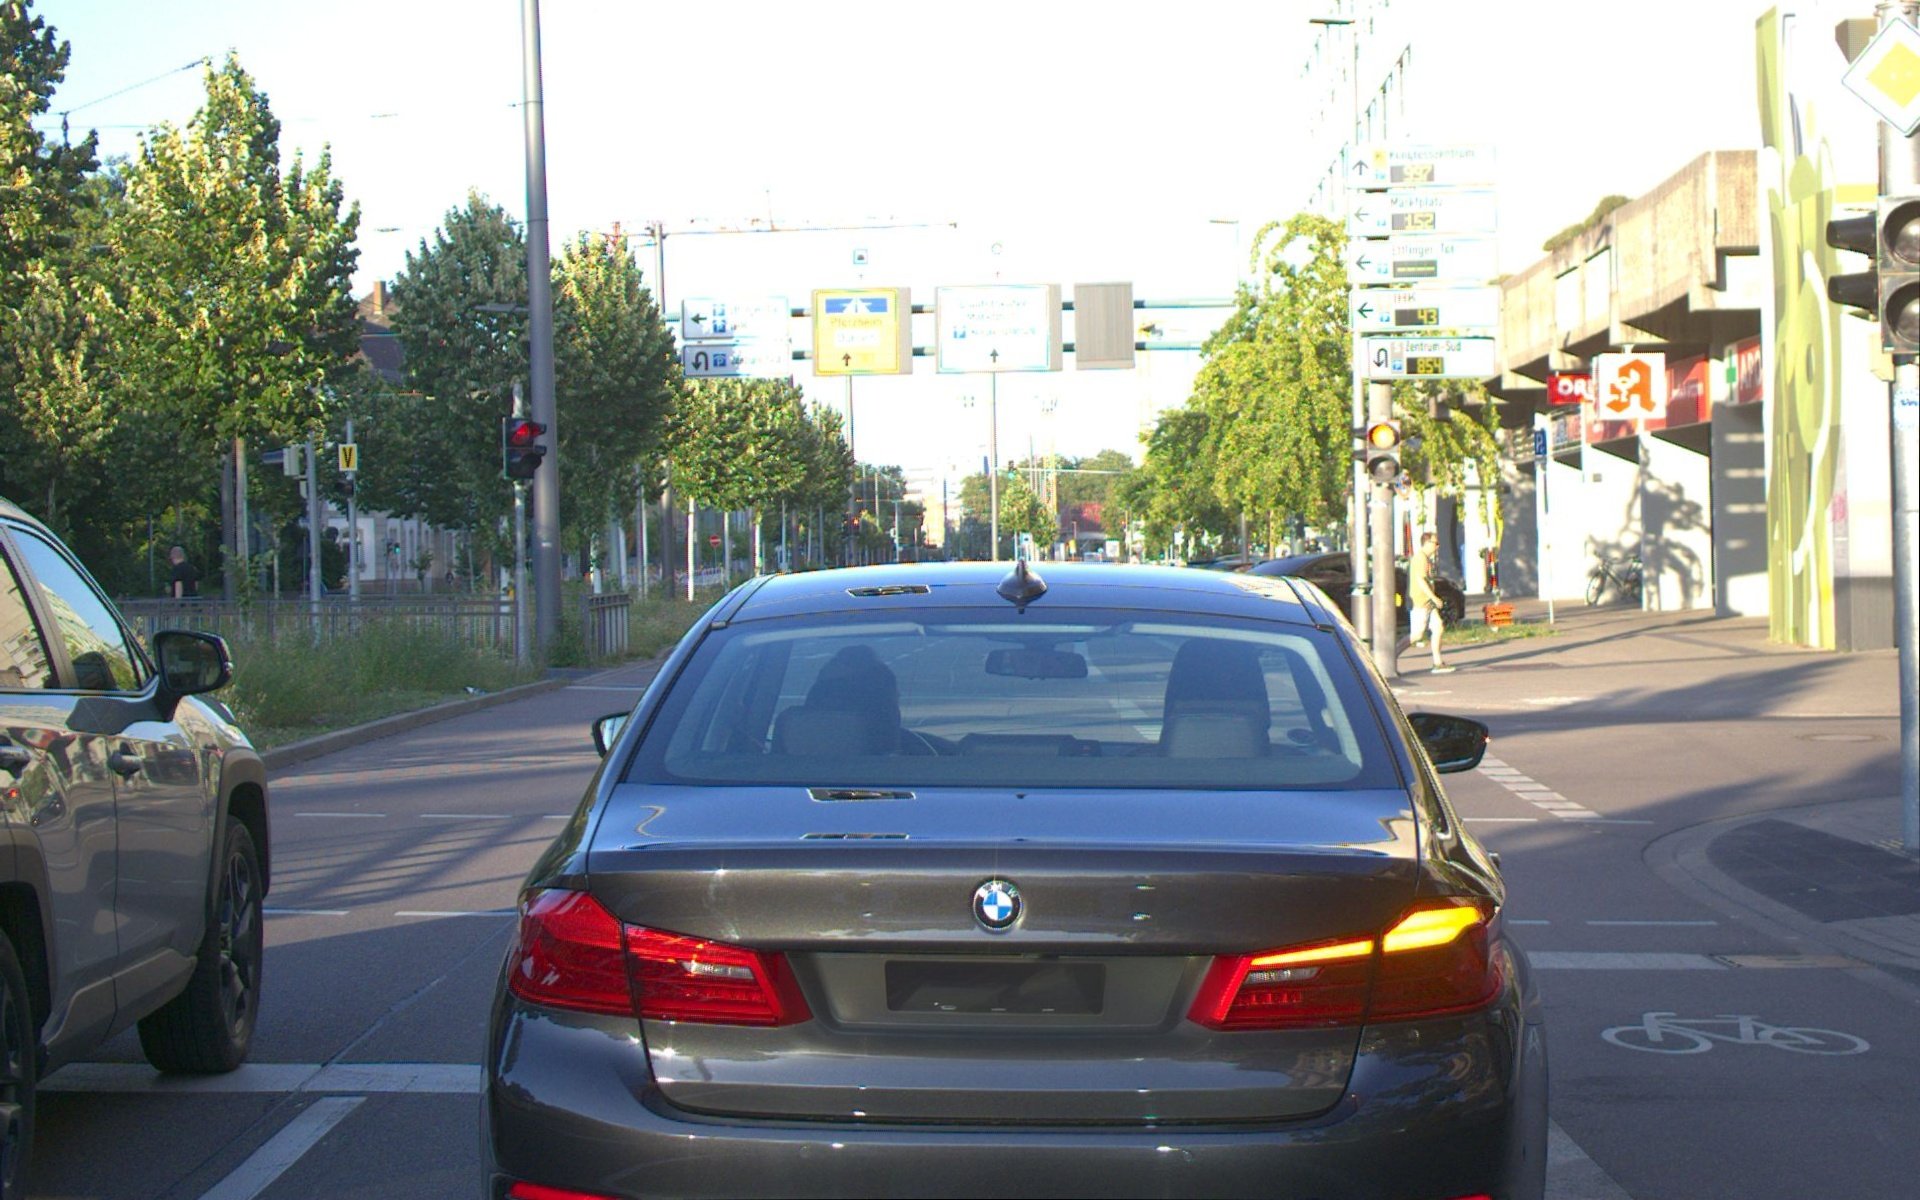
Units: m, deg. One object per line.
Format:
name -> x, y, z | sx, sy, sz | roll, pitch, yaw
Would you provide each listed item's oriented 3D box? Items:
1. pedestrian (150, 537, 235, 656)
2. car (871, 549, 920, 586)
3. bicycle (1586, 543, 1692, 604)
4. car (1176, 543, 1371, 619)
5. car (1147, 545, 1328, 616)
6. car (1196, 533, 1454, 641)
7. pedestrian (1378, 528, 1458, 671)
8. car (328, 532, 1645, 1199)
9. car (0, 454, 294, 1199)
pedestrian -> -10.379, -0.058, 46.495 | 0.835, 1.581, 0.811 | -1, 1, 11
car -> -2.734, -1.405, 146.949 | 1.979, 1.428, 4.843 | 0, 2, 0
bicycle -> 13.617, -0.531, 68.969 | 2.017, 1.145, 0.690 | 2, 0, 7
car -> 7.194, -0.456, 78.815 | 4.255, 1.653, 1.860 | -1, 2, -35
car -> 6.909, -0.498, 85.369 | 4.255, 1.653, 1.860 | -1, 2, -35
car -> 6.037, -0.245, 56.616 | 4.256, 1.653, 1.860 | -2, 3, -42
pedestrian -> 5.564, -0.007, 41.787 | 0.835, 1.706, 0.648 | -1, 1, -1
car -> 0.049, 0.630, 7.324 | 1.932, 1.476, 4.523 | 0, 2, 0
car -> -2.912, 0.488, 8.102 | 1.854, 1.653, 4.269 | 0, 2, 0
